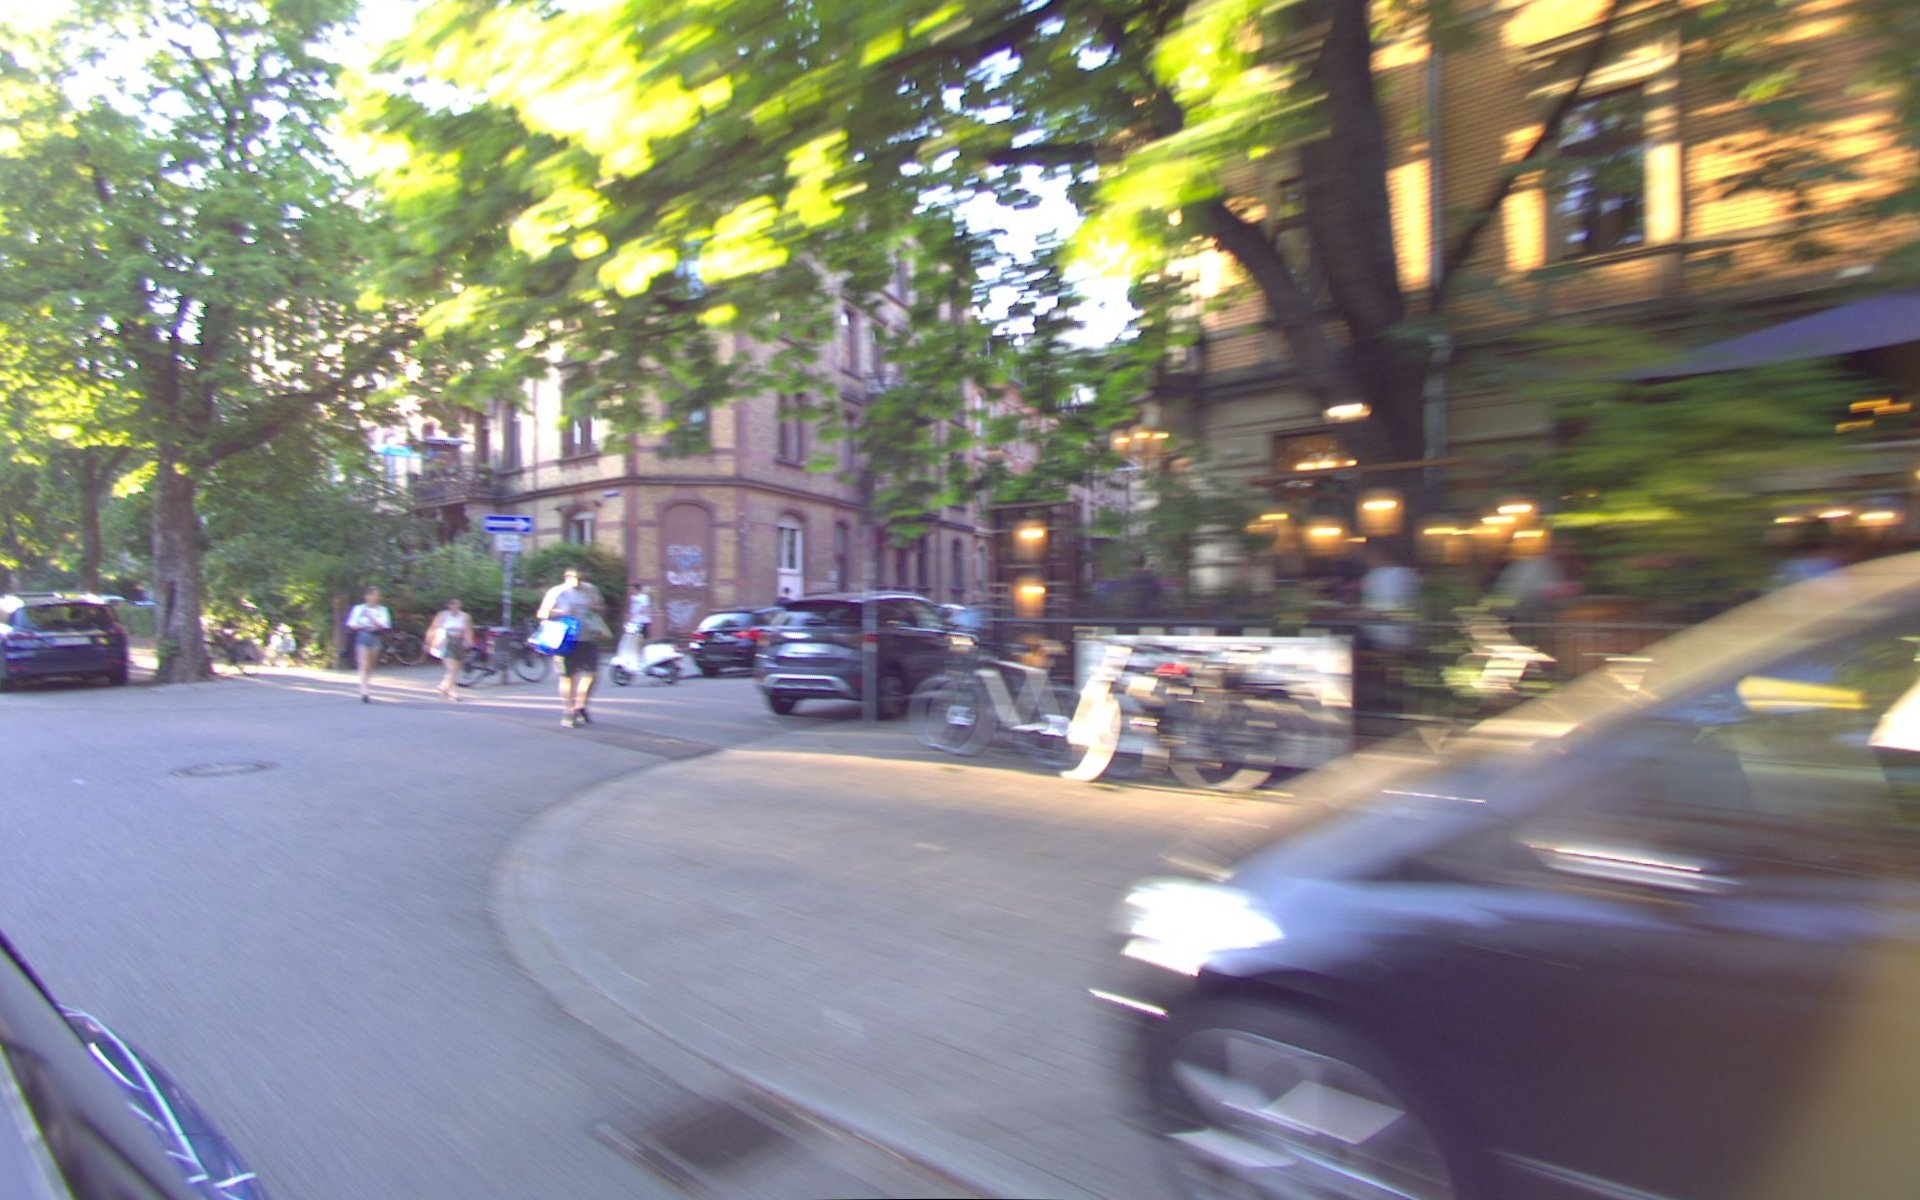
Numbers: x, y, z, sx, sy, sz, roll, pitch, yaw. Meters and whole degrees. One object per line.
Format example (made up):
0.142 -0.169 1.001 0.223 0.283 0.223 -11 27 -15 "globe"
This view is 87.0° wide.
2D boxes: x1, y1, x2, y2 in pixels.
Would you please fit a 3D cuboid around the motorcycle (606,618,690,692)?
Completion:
-5.619 0.979 18.177 1.859 1.266 0.466 -2 -2 39 "motorcycle"

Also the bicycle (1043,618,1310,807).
1.506 0.743 7.359 1.957 1.194 0.387 -1 2 45 "bicycle"

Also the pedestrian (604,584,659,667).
-7.640 0.575 23.548 0.777 1.837 0.916 3 3 30 "pedestrian"

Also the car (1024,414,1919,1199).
2.181 0.541 1.800 3.843 1.690 1.648 -1 2 39 "car"

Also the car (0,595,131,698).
-17.216 0.817 18.903 4.588 1.700 1.847 -1 0 40 "car"

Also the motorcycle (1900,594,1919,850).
5.238 0.568 4.166 0.386 1.194 1.960 -2 1 -39 "motorcycle"

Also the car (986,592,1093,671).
1.838 0.687 22.640 1.457 1.606 3.309 -2 -1 22 "car"

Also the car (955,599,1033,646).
1.298 0.805 36.281 1.568 1.584 4.091 -2 -1 20 "car"

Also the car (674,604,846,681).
-4.141 0.875 21.629 1.774 1.470 3.991 -2 -1 20 "car"

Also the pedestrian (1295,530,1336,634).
5.043 -0.244 14.344 0.461 1.423 0.519 -2 -2 26 "pedestrian"

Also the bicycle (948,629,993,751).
0.128 0.852 10.212 0.387 1.107 1.827 -1 -1 2 "bicycle"

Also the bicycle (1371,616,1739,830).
3.659 0.699 6.415 0.386 1.152 1.960 -3 1 -39 "bicycle"

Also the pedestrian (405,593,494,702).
-7.897 0.725 15.679 1.043 1.643 0.684 0 -1 15 "pedestrian"

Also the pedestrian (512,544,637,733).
-4.348 0.416 11.449 1.002 2.029 0.863 0 -1 21 "pedestrian"

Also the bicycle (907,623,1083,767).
0.268 0.792 8.960 1.746 1.152 0.387 -2 -1 44 "bicycle"

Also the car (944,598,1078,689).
1.011 0.728 18.252 1.456 1.469 3.311 -2 0 21 "car"

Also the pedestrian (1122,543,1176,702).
1.791 0.214 9.619 0.458 1.462 0.428 -2 -2 10 "pedestrian"

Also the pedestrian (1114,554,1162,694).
1.906 0.263 10.849 0.458 1.462 0.428 -2 -2 10 "pedestrian"

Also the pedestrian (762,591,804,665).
-4.560 0.696 26.072 0.688 1.837 0.782 3 3 43 "pedestrian"

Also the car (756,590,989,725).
-1.019 0.713 13.750 1.622 1.557 3.830 -2 -1 21 "car"

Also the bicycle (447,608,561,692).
-8.098 0.862 18.015 1.772 1.403 0.519 0 1 -39 "bicycle"

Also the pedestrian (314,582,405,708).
-9.094 0.664 15.340 1.000 1.849 0.684 0 -1 15 "pedestrian"
